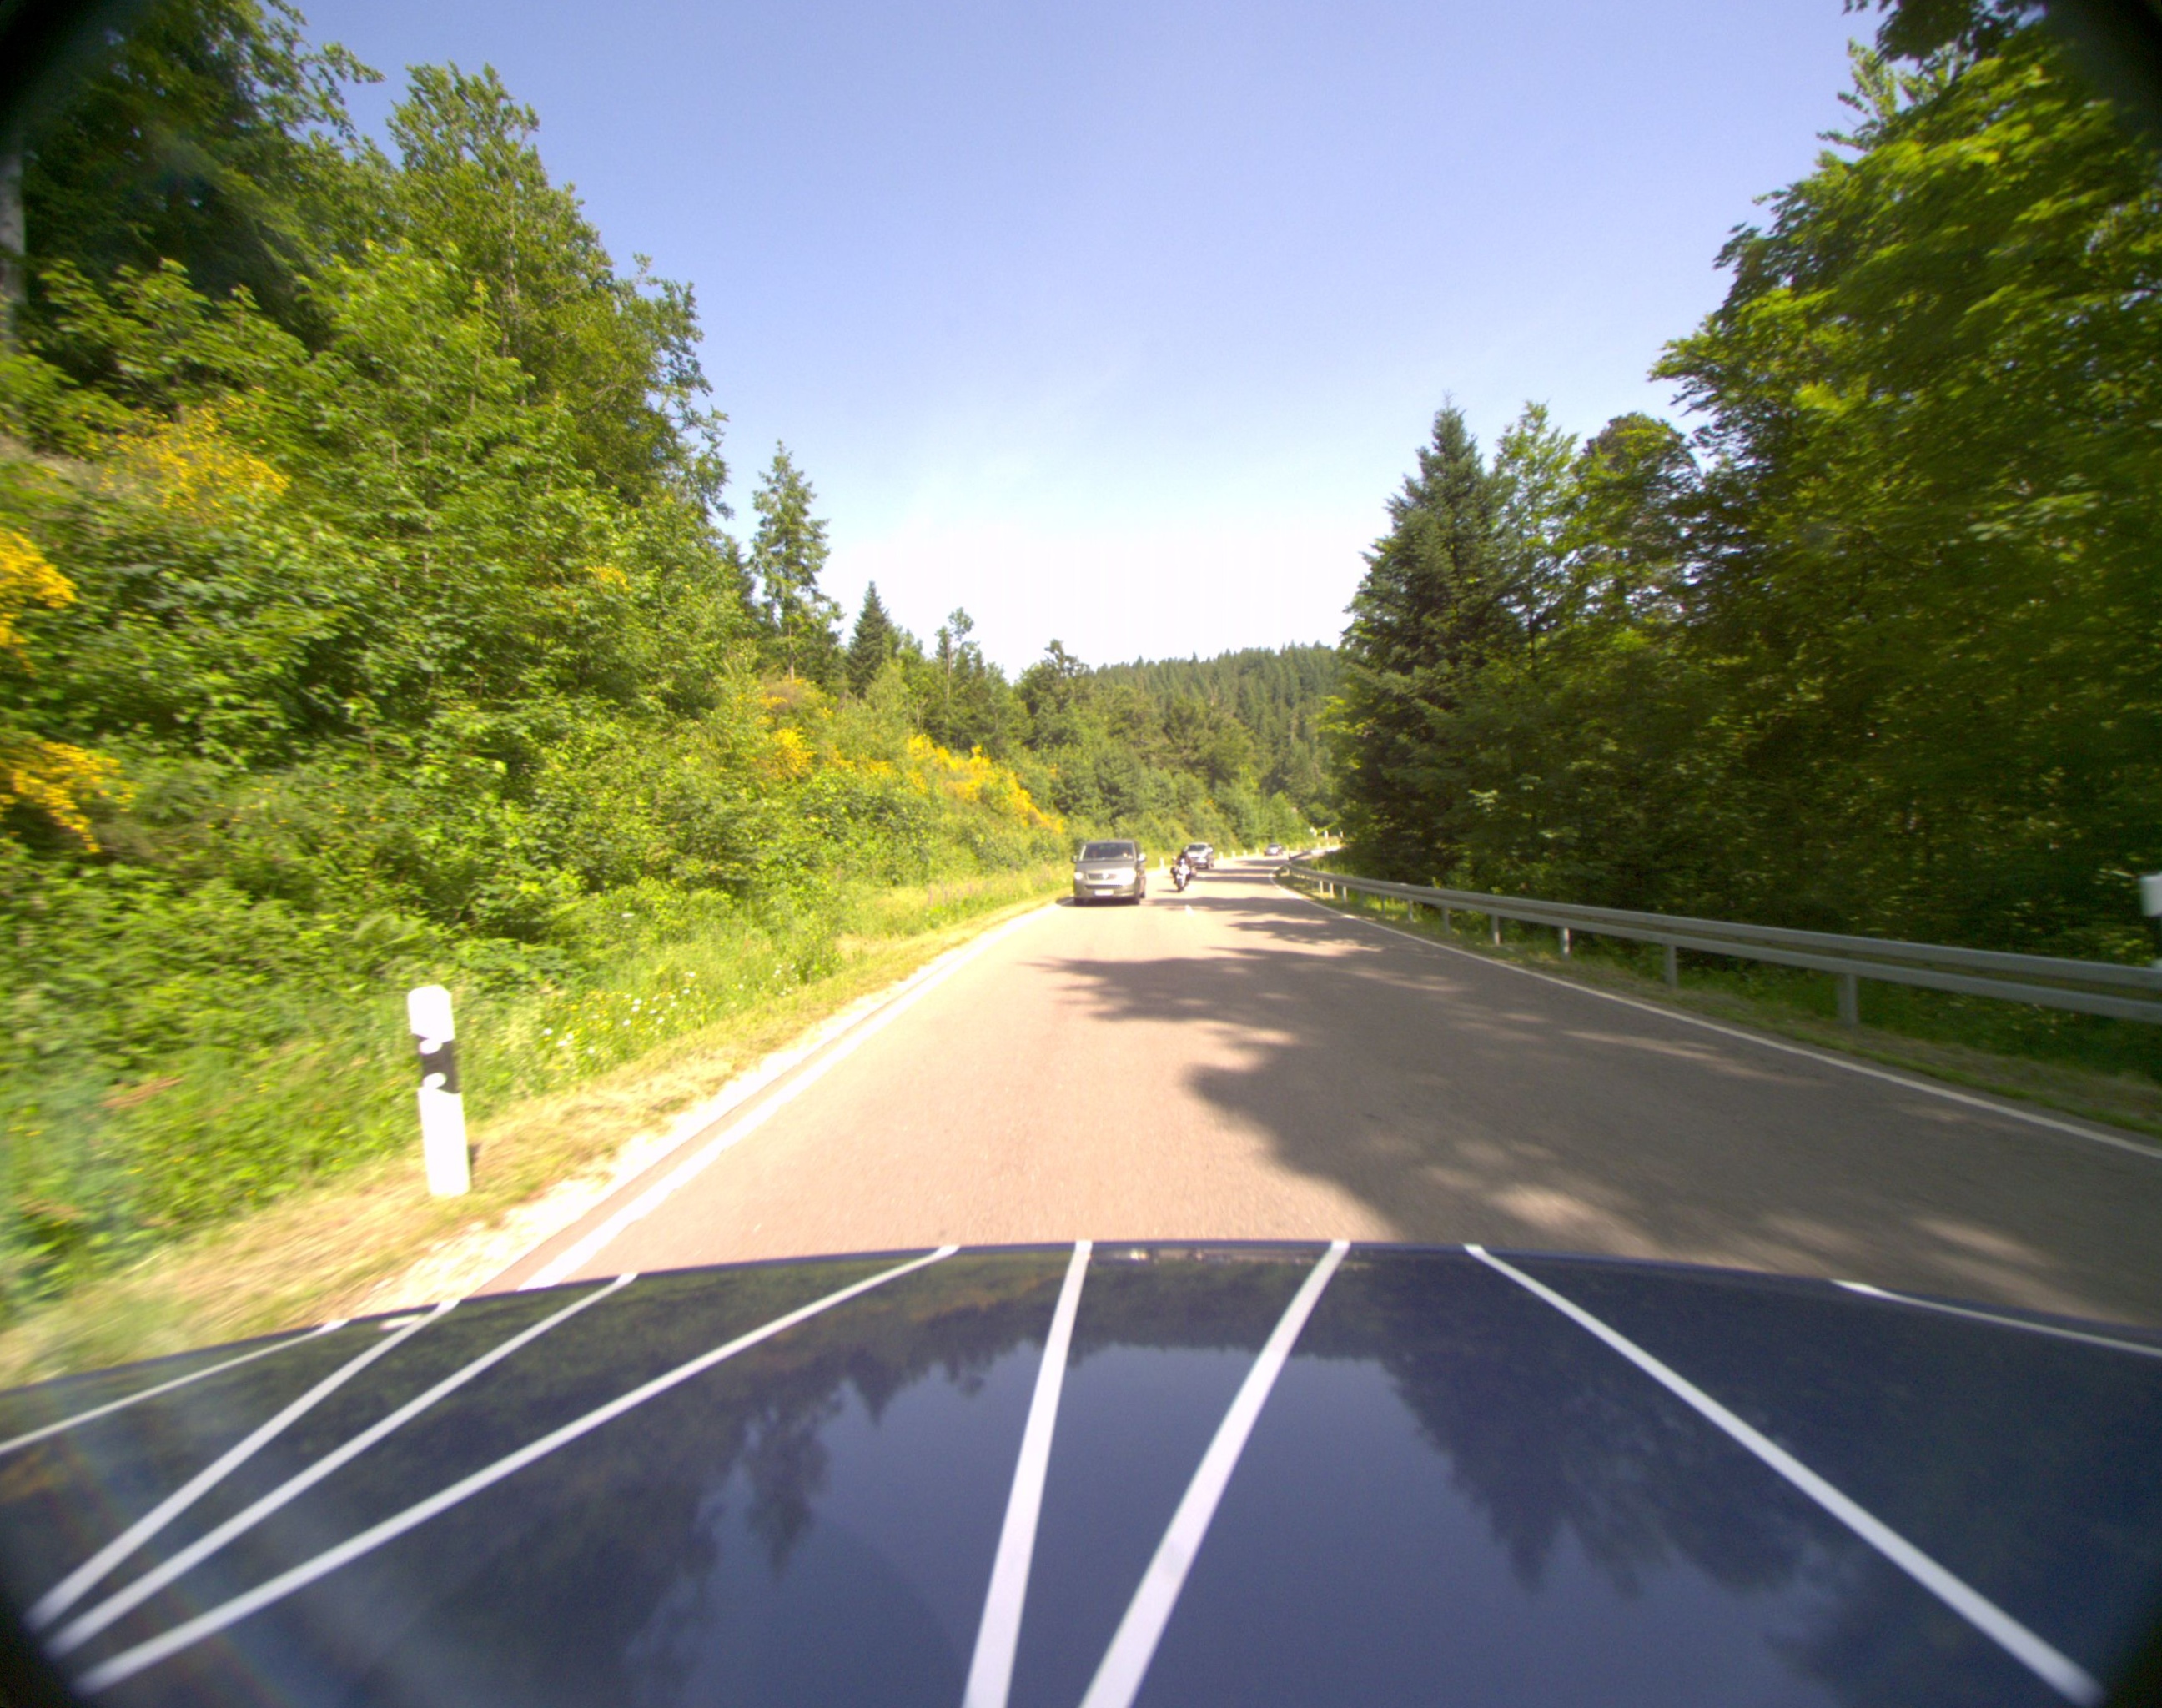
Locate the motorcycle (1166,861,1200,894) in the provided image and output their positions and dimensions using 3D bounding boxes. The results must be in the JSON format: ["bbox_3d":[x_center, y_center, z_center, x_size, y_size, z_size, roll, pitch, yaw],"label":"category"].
[{"bbox_3d":[3.826,0.866,28.333,1.108,1.117,1.962,-1,1,11],"label":"motorcycle"}]

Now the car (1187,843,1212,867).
[{"bbox_3d":[8.874,0.038,56.719,1.651,1.749,3.797,0,1,11],"label":"car"}]

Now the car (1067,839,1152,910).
[{"bbox_3d":[1.004,0.542,23.355,2.028,1.940,4.902,-1,1,9],"label":"car"}]

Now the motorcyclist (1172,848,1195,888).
[{"bbox_3d":[3.835,0.508,28.339,0.716,1.422,1.000,-2,1,11],"label":"motorcyclist"}]

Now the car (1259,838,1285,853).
[{"bbox_3d":[22.855,-0.988,90.800,1.995,1.634,4.006,-1,2,29],"label":"car"}]
